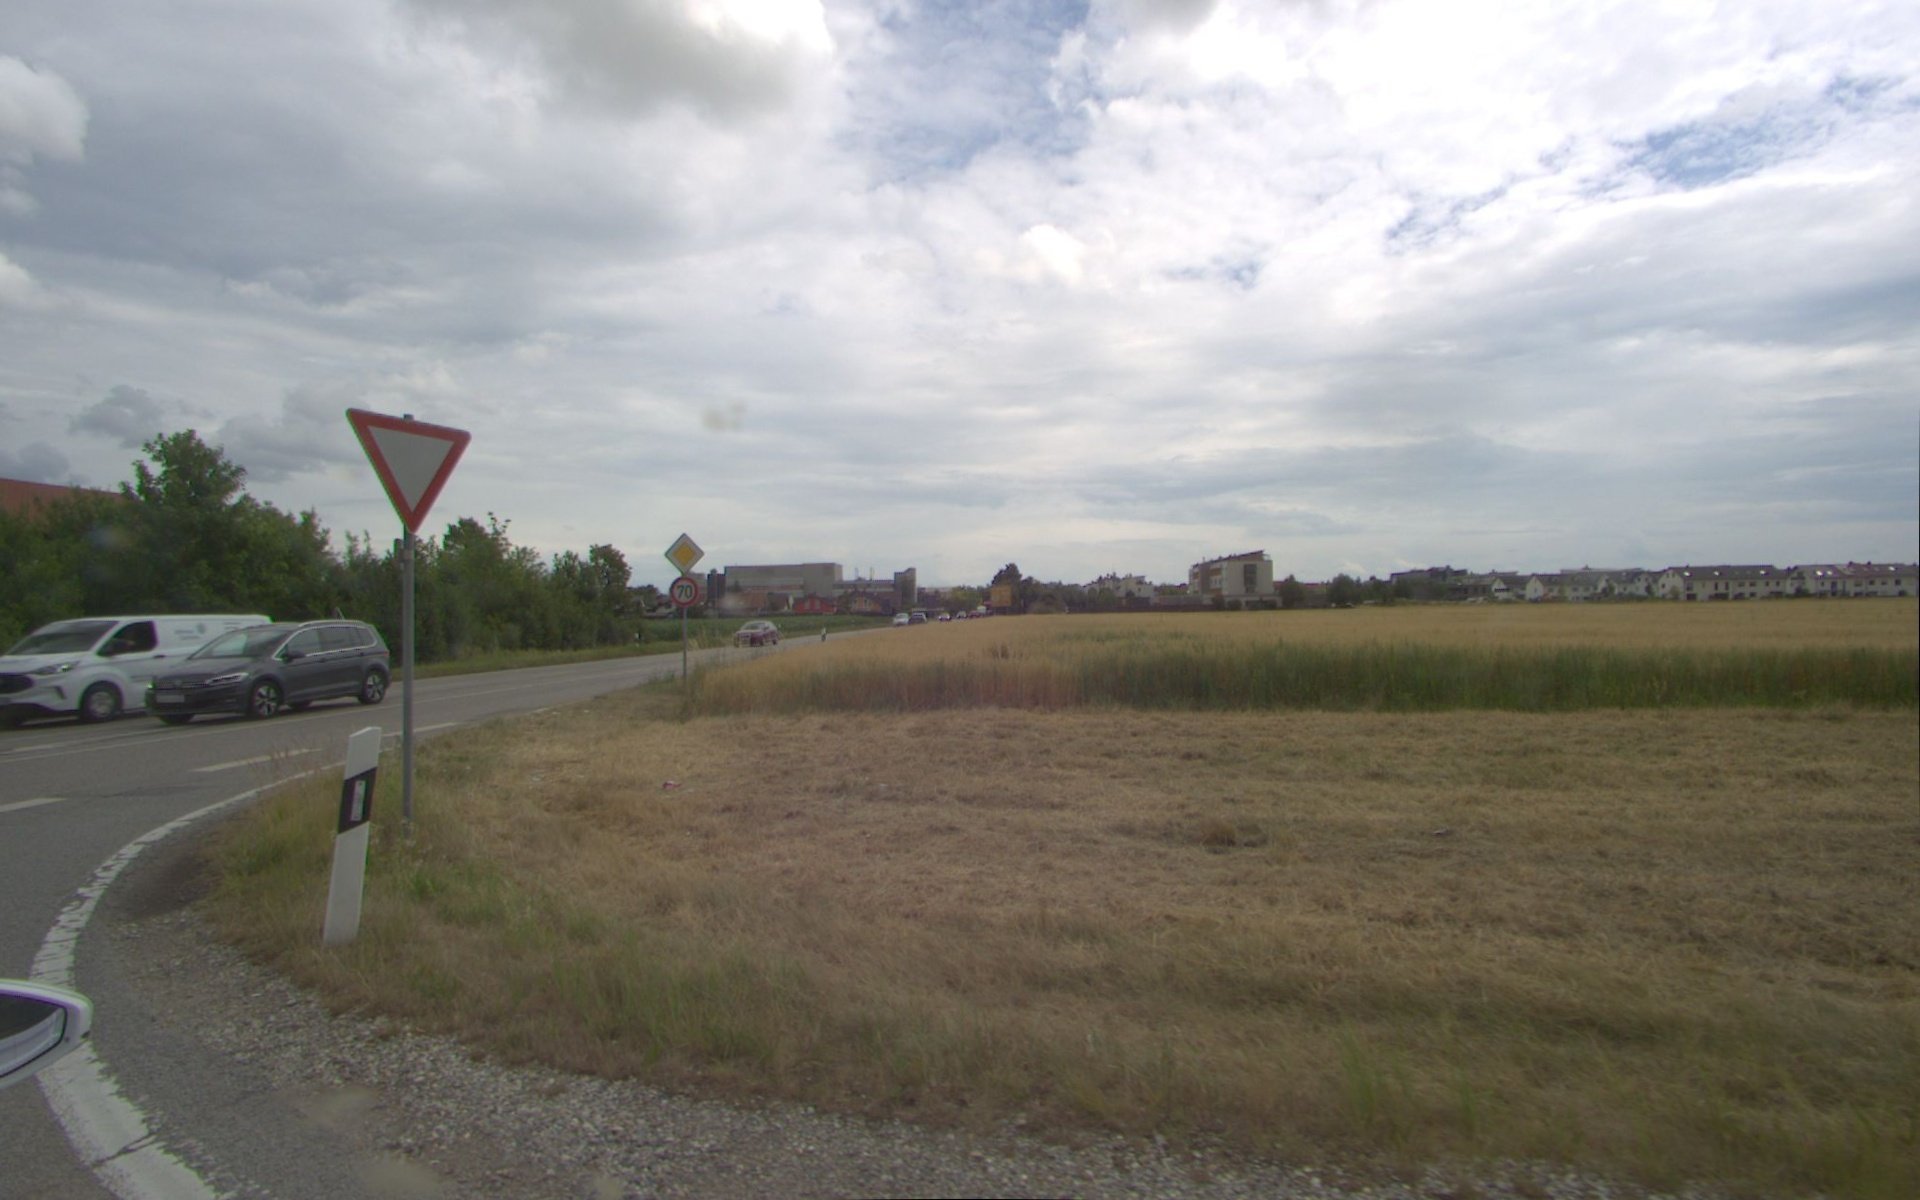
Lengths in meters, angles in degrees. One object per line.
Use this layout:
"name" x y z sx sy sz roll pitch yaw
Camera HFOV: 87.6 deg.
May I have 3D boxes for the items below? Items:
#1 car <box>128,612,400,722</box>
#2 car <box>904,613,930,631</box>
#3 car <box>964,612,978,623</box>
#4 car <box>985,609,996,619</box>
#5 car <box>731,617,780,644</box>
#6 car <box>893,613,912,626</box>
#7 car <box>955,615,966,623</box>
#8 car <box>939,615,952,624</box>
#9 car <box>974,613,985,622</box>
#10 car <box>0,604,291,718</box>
"car" -12.424 1.110 18.284 1.720 1.680 4.290 -2 0 4
"car" -4.092 2.115 95.917 1.828 1.586 3.999 -1 0 7
"car" 1.901 2.997 171.709 1.828 1.750 3.999 -1 0 7
"car" 6.663 3.094 218.109 2.080 2.040 4.739 -1 0 5
"car" -11.873 1.756 58.426 1.645 1.420 4.088 -2 0 5
"car" -6.562 2.232 115.046 1.702 1.450 3.935 -2 -1 4
"car" 0.132 3.618 194.950 1.642 1.448 4.303 -2 -1 4
"car" -2.242 3.113 159.488 1.742 1.257 4.211 -2 -1 3
"car" 3.802 3.327 193.541 1.828 1.750 3.999 -1 0 7
"car" -16.129 1.069 19.646 2.072 1.910 5.390 -2 0 4
